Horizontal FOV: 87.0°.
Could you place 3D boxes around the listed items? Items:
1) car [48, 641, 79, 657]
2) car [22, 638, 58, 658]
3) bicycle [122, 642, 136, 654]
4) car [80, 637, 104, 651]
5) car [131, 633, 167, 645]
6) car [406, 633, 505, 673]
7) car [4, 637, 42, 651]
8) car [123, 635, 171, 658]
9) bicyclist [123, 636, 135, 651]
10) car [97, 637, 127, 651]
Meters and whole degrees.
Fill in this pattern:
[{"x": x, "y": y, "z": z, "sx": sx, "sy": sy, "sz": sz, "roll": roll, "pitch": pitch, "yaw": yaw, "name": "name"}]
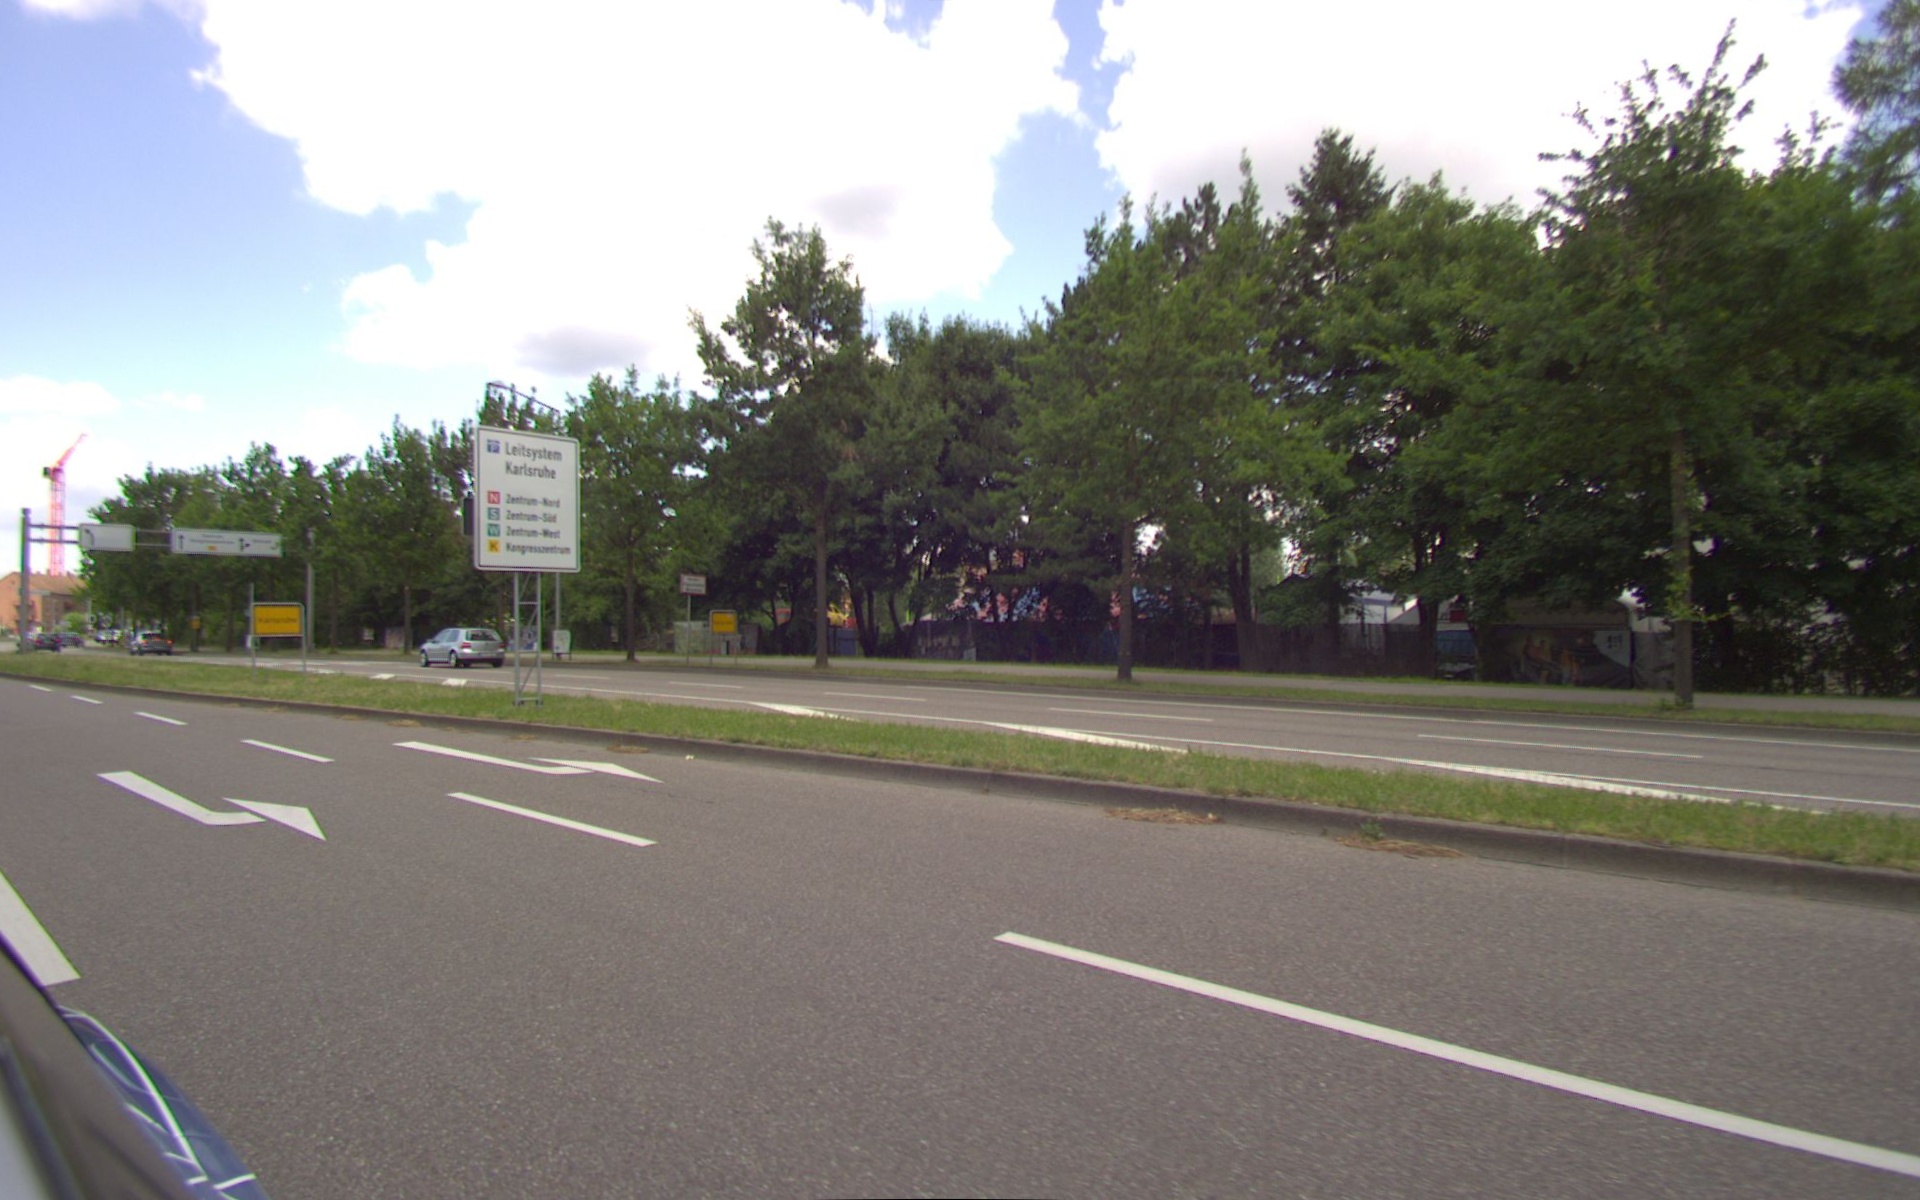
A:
[{"x": -92.496, "y": 5.004, "z": 104.499, "sx": 1.739, "sy": 1.589, "sz": 5.044, "roll": 2, "pitch": -3, "yaw": -34, "name": "car"}, {"x": -75.313, "y": 3.901, "z": 82.824, "sx": 4.274, "sy": 1.581, "sz": 1.723, "roll": -2, "pitch": -4, "yaw": 42, "name": "car"}, {"x": -87.275, "y": 5.017, "z": 106.311, "sx": 2.015, "sy": 1.228, "sz": 0.753, "roll": -2, "pitch": 0, "yaw": 41, "name": "bicycle"}, {"x": -104.079, "y": 5.267, "z": 121.328, "sx": 1.699, "sy": 1.603, "sz": 5.025, "roll": 2, "pitch": -3, "yaw": -35, "name": "car"}, {"x": -105.083, "y": 5.019, "z": 131.200, "sx": 1.812, "sy": 1.491, "sz": 4.766, "roll": 0, "pitch": -2, "yaw": -15, "name": "car"}, {"x": -18.294, "y": 1.891, "z": 36.595, "sx": 4.378, "sy": 1.339, "sz": 1.623, "roll": -2, "pitch": -3, "yaw": 40, "name": "car"}, {"x": -98.061, "y": 4.605, "z": 105.995, "sx": 1.738, "sy": 1.451, "sz": 4.323, "roll": 1, "pitch": -3, "yaw": -27, "name": "car"}, {"x": -56.260, "y": 3.201, "z": 70.028, "sx": 4.569, "sy": 1.557, "sz": 1.724, "roll": -2, "pitch": -4, "yaw": 40, "name": "car"}, {"x": -87.217, "y": 4.579, "z": 106.259, "sx": 0.883, "sy": 1.576, "sz": 0.821, "roll": -2, "pitch": 0, "yaw": 40, "name": "bicyclist"}, {"x": -97.290, "y": 5.080, "z": 116.121, "sx": 1.883, "sy": 1.552, "sz": 4.381, "roll": 1, "pitch": -3, "yaw": -29, "name": "car"}]
